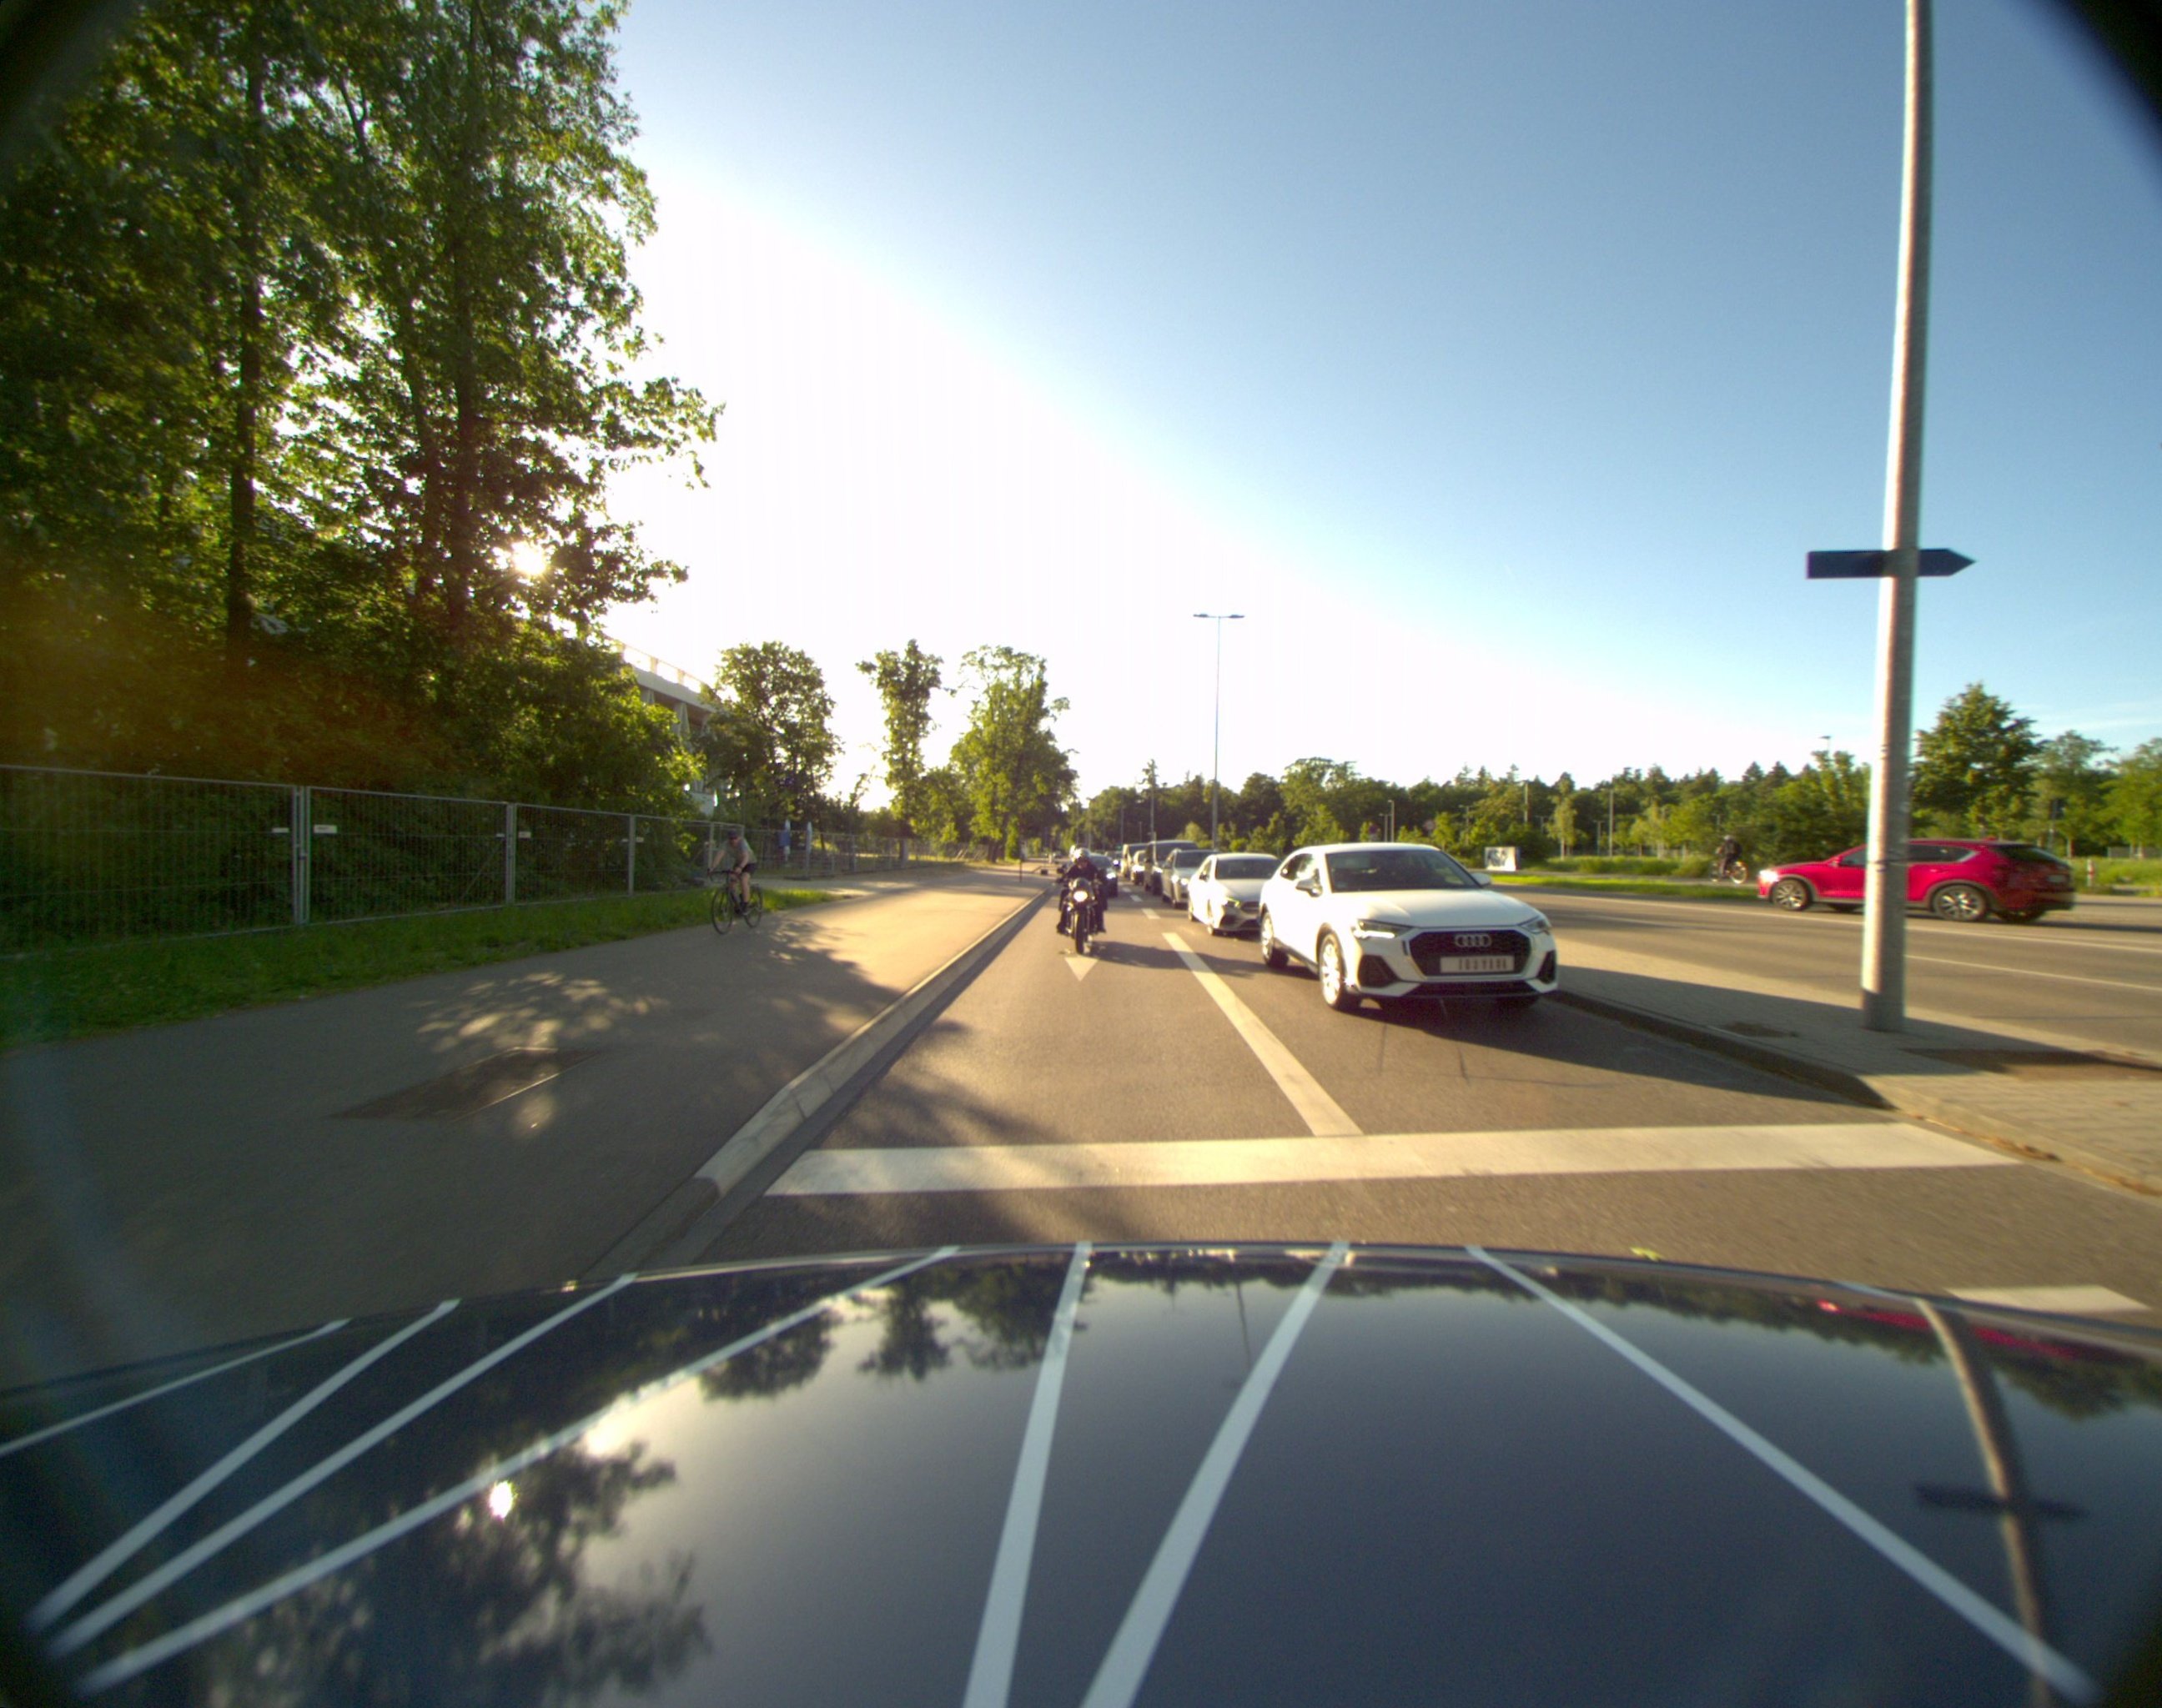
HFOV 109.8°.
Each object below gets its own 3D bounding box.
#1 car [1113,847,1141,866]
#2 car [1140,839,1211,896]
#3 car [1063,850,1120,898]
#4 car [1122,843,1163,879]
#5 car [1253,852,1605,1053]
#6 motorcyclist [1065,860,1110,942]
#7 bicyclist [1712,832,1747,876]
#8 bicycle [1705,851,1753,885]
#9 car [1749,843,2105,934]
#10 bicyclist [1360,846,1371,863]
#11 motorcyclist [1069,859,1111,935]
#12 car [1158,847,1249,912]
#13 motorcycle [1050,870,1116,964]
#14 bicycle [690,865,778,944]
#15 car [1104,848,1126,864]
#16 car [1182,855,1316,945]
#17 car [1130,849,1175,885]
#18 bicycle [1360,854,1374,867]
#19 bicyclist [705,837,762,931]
[{"bbox_3d":[3.580,0.204,59.972,1.896,1.389,4.639,-2,1,0],"label":"car"},{"bbox_3d":[3.317,0.428,27.551,1.884,1.862,5.234,-1,0,0],"label":"car"},{"bbox_3d":[0.352,0.648,27.433,1.867,1.538,4.795,-1,0,0],"label":"car"},{"bbox_3d":[3.413,0.350,43.187,1.867,1.882,5.067,-2,0,0],"label":"car"},{"bbox_3d":[3.145,0.755,7.966,1.838,1.504,4.300,-1,0,2],"label":"car"},{"bbox_3d":[0.110,0.742,12.376,0.671,1.257,0.826,-1,1,1],"label":"motorcyclist"},{"bbox_3d":[24.585,-0.004,28.824,0.682,1.602,0.800,-1,1,8],"label":"bicyclist"},{"bbox_3d":[24.639,0.509,28.936,0.494,1.230,1.796,-1,1,8],"label":"bicycle"},{"bbox_3d":[17.120,0.594,15.773,1.893,1.544,4.565,-2,1,-17],"label":"car"},{"bbox_3d":[22.957,0.028,61.272,0.593,1.405,0.800,-1,1,3],"label":"bicyclist"},{"bbox_3d":[0.157,0.731,13.258,0.671,1.257,0.826,-1,1,1],"label":"motorcyclist"},{"bbox_3d":[3.229,0.622,20.869,1.797,1.574,4.320,-1,0,0],"label":"car"},{"bbox_3d":[0.058,0.933,12.346,0.916,1.243,2.962,-1,0,1],"label":"motorcycle"},{"bbox_3d":[-5.606,0.775,12.407,0.555,1.131,1.864,1,1,1],"label":"bicycle"},{"bbox_3d":[3.238,0.175,73.355,1.896,1.479,4.639,-2,1,0],"label":"car"},{"bbox_3d":[3.028,0.753,14.531,1.661,1.418,4.318,-1,0,1],"label":"car"},{"bbox_3d":[3.301,0.580,35.782,1.736,1.560,4.103,-1,0,0],"label":"car"},{"bbox_3d":[23.074,0.501,61.341,0.584,1.013,1.362,-1,1,2],"label":"bicycle"},{"bbox_3d":[-5.604,0.465,12.282,0.521,1.460,0.861,1,1,1],"label":"bicyclist"}]
